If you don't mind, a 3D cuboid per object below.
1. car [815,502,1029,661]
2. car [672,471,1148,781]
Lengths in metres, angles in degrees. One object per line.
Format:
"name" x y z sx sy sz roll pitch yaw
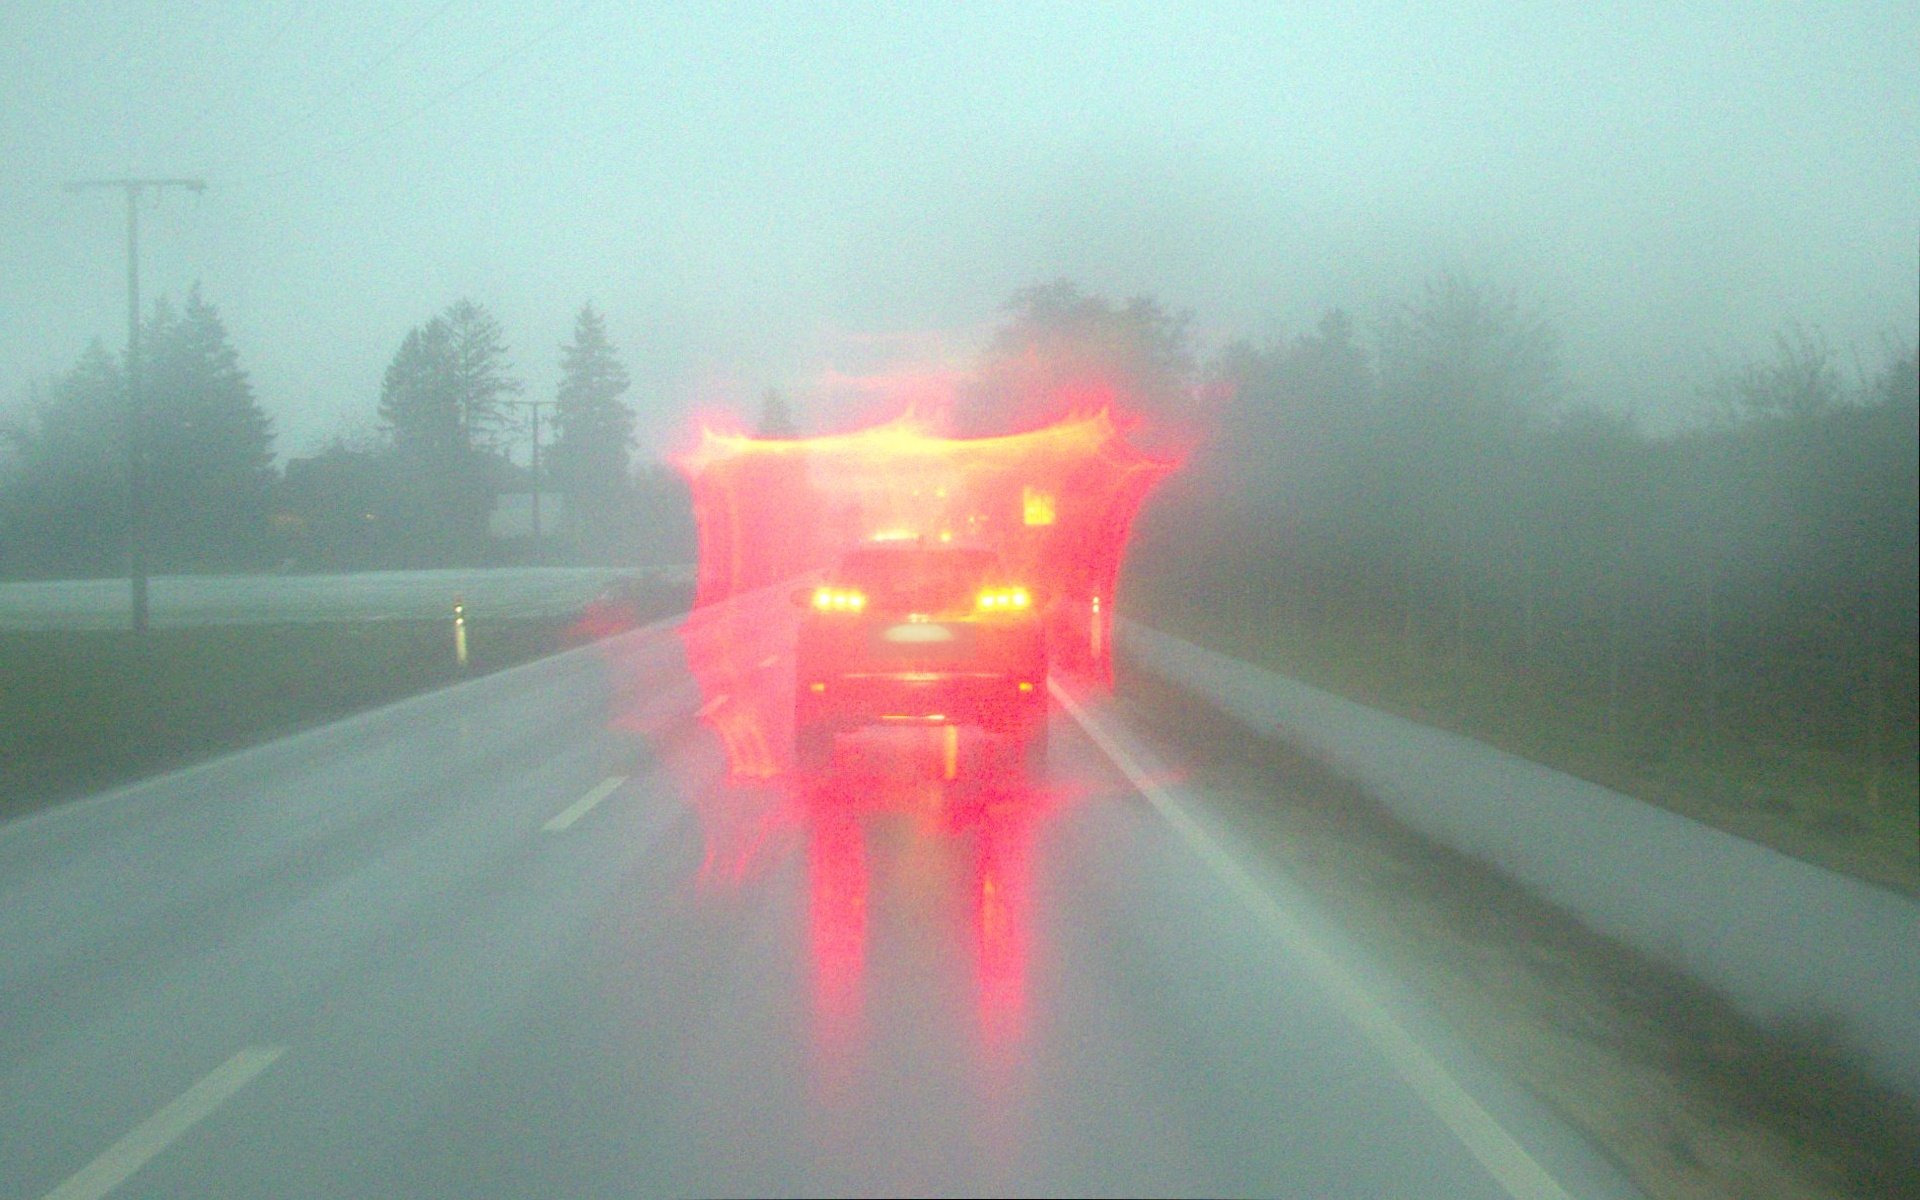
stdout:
"car" -0.494 -0.314 48.209 2.756 2.028 6.591 -1 1 0
"car" -0.329 0.103 26.506 3.164 2.028 6.852 -1 1 0
